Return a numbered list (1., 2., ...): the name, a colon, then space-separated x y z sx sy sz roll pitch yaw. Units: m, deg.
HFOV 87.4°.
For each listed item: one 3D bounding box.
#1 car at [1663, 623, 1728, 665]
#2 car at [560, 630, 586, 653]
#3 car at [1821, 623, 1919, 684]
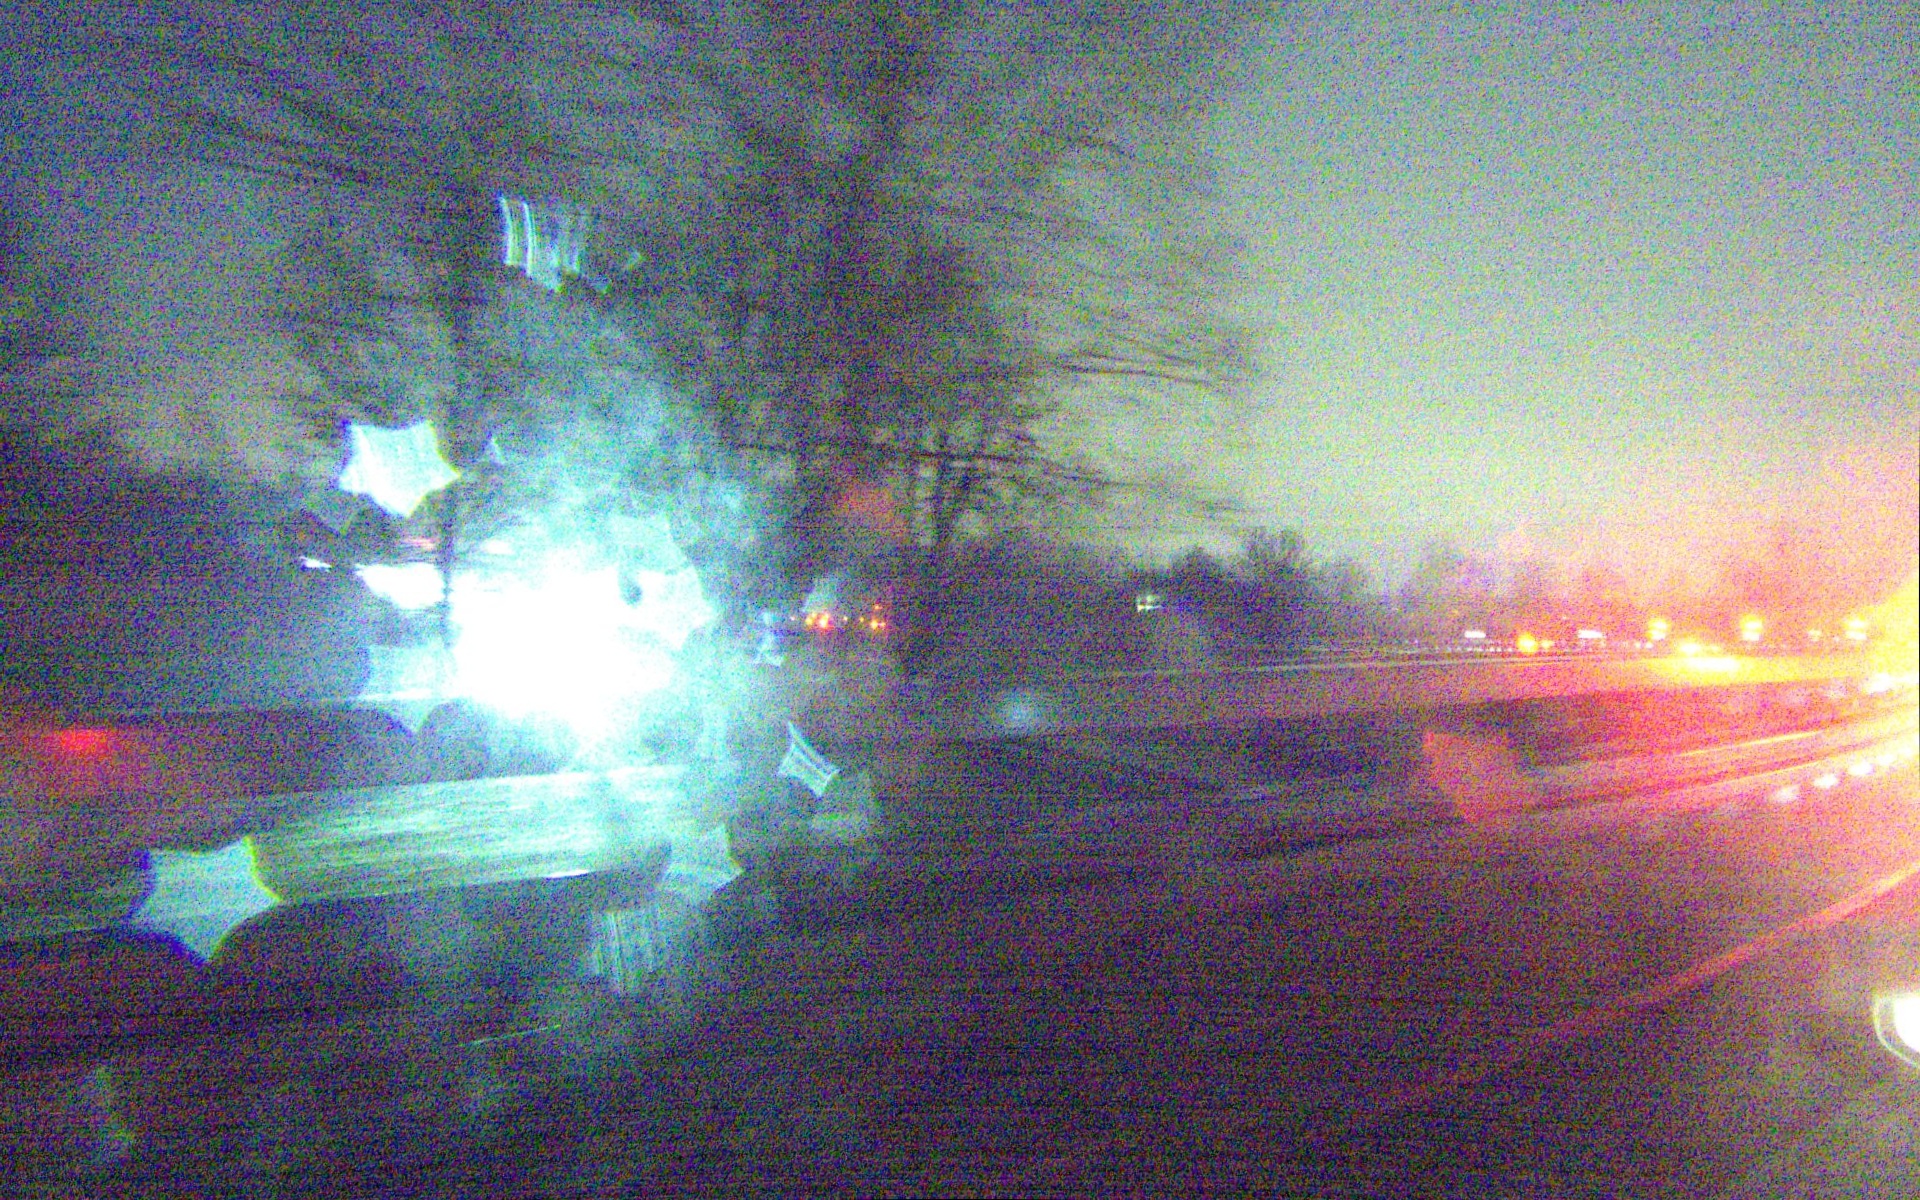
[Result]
1. car: 36.754 2.167 50.308 1.866 2.024 4.042 0 -1 25
2. car: -32.926 3.536 85.634 1.894 1.775 4.225 3 -2 -20
3. car: 33.143 1.893 36.559 1.866 2.067 4.040 1 -1 27
